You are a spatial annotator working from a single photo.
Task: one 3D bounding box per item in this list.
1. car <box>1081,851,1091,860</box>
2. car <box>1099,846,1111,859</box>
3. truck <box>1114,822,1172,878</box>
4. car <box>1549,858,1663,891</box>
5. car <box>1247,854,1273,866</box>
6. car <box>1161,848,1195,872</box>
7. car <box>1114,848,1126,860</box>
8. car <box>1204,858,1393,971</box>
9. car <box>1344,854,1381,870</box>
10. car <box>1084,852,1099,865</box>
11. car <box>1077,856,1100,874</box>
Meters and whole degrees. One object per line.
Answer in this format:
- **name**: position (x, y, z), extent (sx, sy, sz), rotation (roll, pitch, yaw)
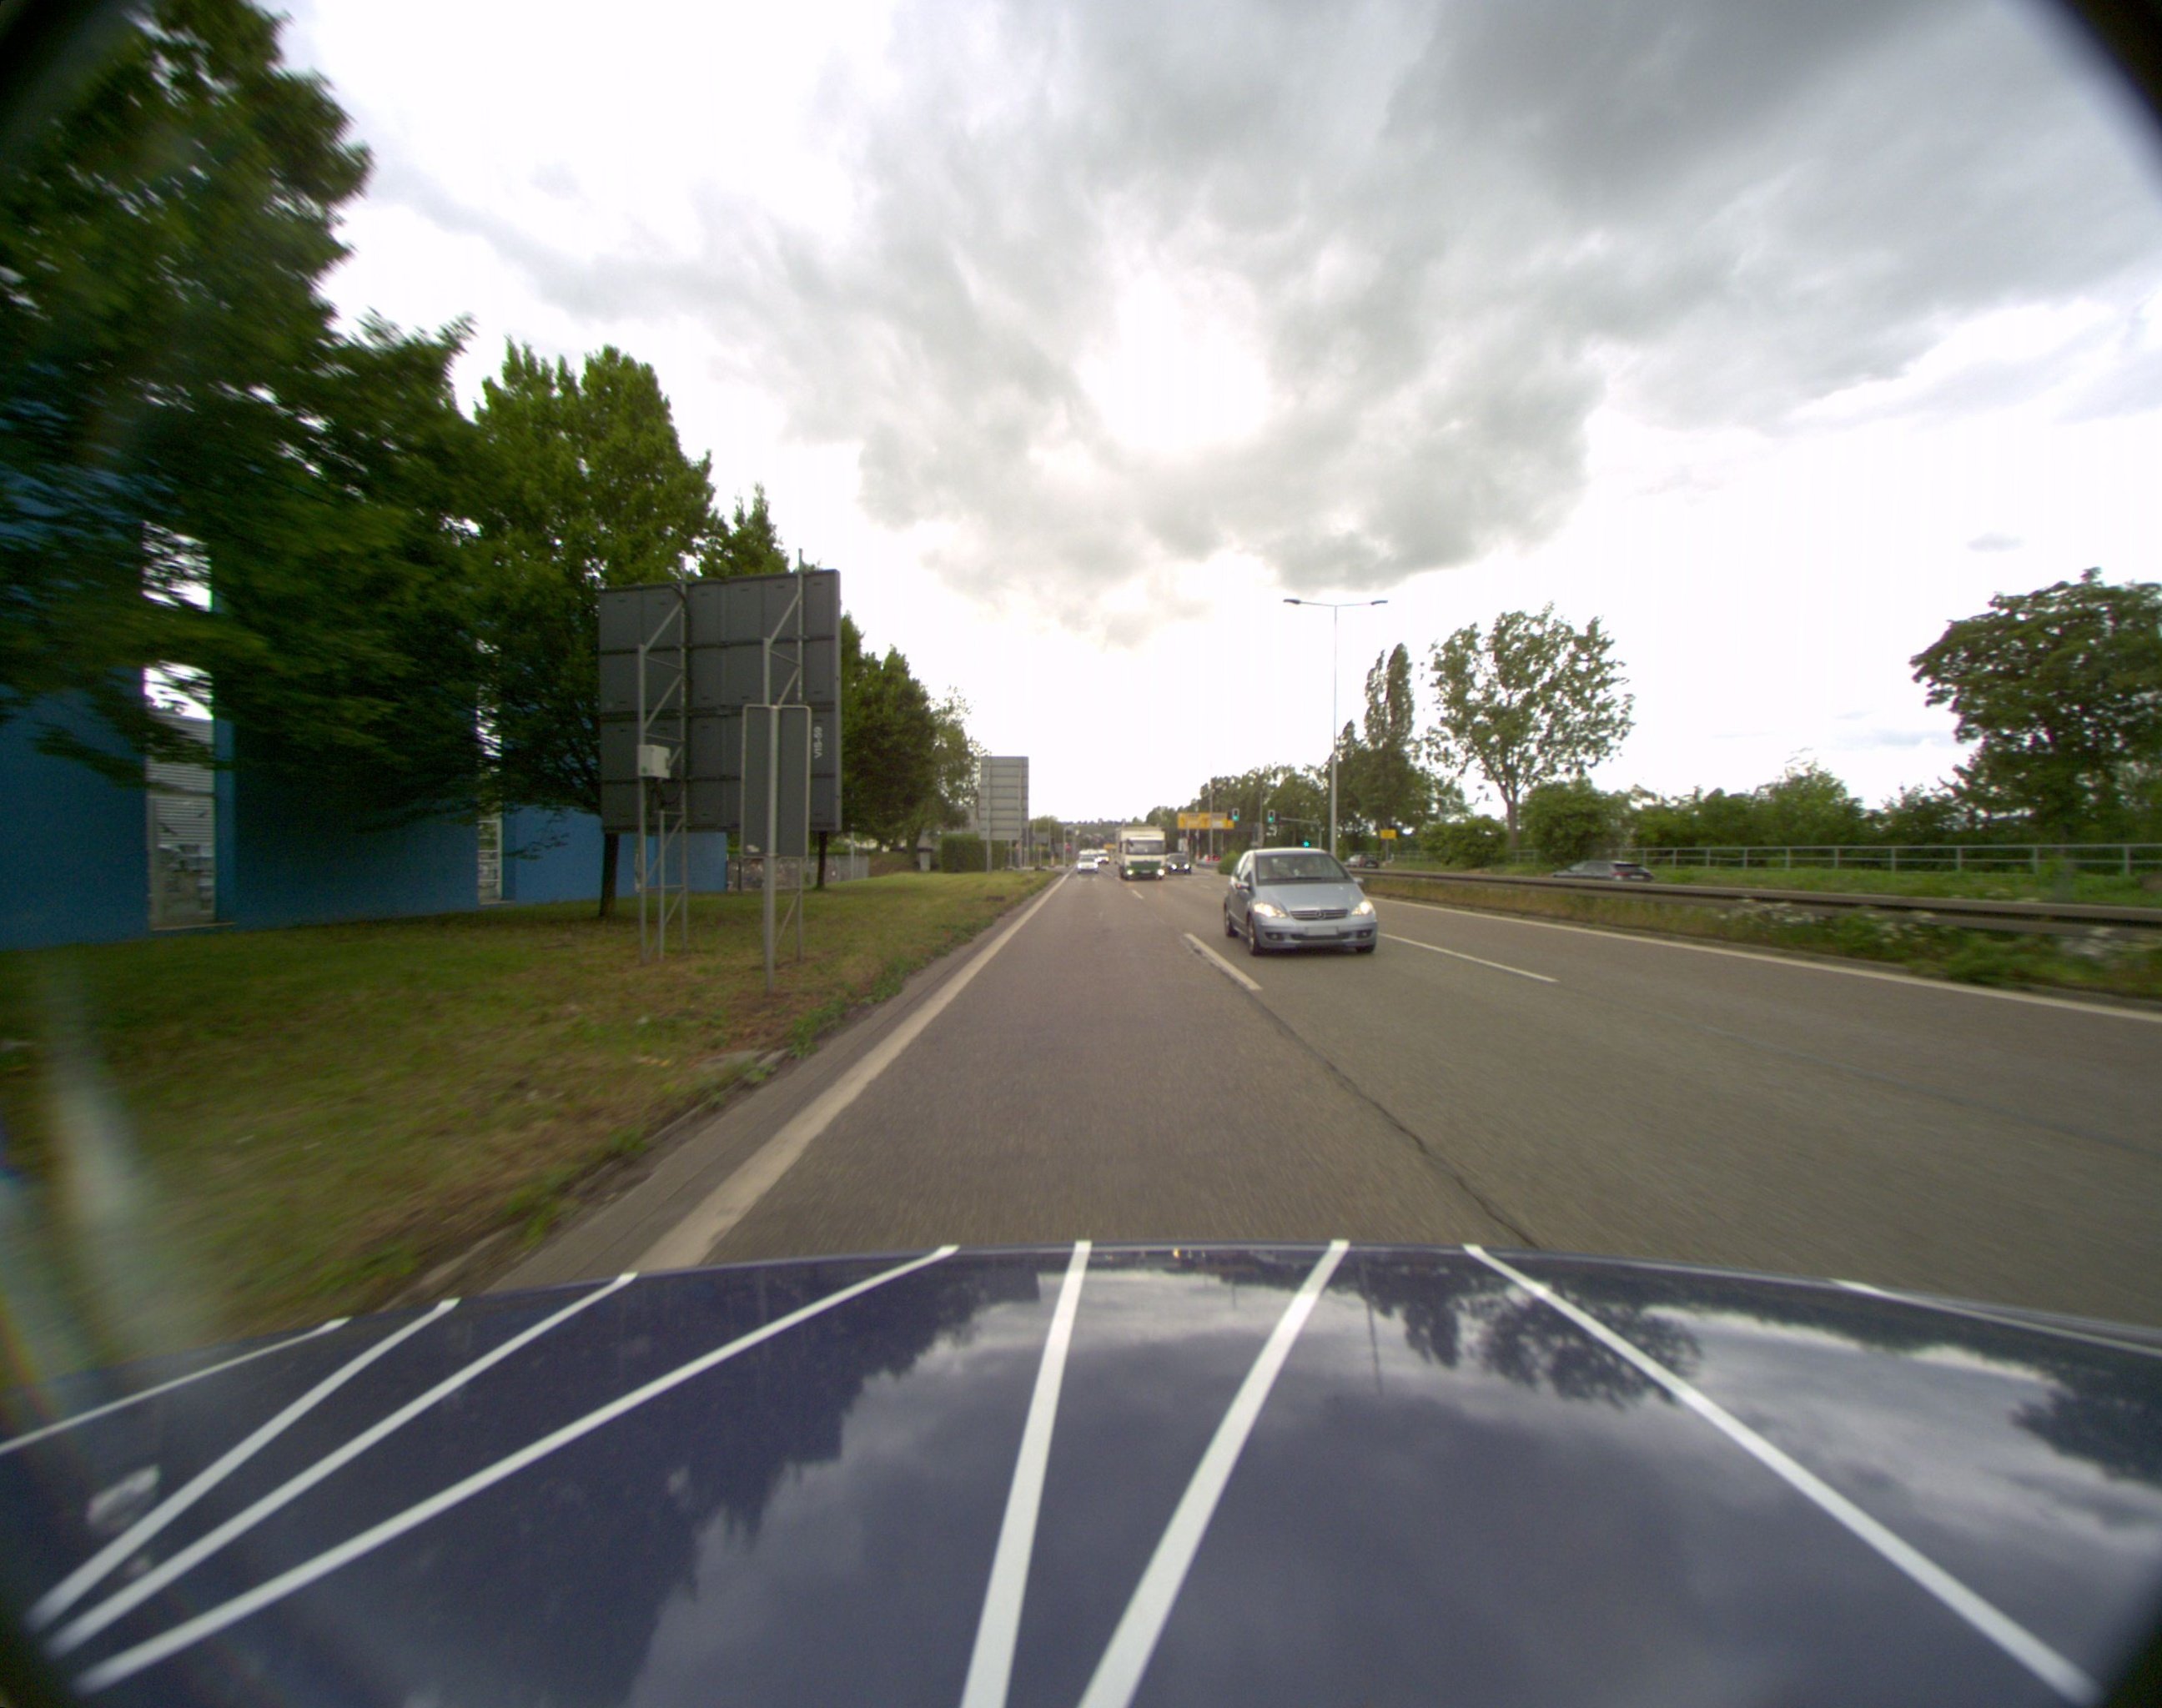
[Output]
- **car**: position (1.022, 0.284, 150.128), extent (1.949, 1.811, 4.000), rotation (0, 0, 0)
- **car**: position (4.342, -0.272, 136.397), extent (1.949, 2.176, 4.000), rotation (0, 0, 0)
- **truck**: position (3.736, -0.179, 48.915), extent (2.657, 3.121, 12.508), rotation (0, 0, 0)
- **car**: position (22.790, 0.845, 33.226), extent (1.664, 1.291, 4.788), rotation (0, 0, 0)
- **car**: position (17.058, 0.561, 72.408), extent (1.549, 1.099, 4.067), rotation (0, 0, 1)
- **car**: position (7.054, 0.428, 55.634), extent (1.883, 1.714, 4.146), rotation (0, 0, 0)
- **car**: position (7.277, -0.028, 140.991), extent (1.949, 2.176, 4.000), rotation (0, 0, 0)
- **car**: position (3.309, 0.833, 12.434), extent (1.883, 1.530, 4.146), rotation (0, 0, 0)
- **car**: position (23.335, 0.653, 63.111), extent (1.582, 1.291, 4.061), rotation (0, 0, 1)
- **car**: position (1.393, 0.588, 99.474), extent (1.883, 1.714, 4.146), rotation (0, 0, 0)
- **car**: position (0.612, 0.911, 66.640), extent (1.949, 1.516, 4.000), rotation (0, 0, 0)
